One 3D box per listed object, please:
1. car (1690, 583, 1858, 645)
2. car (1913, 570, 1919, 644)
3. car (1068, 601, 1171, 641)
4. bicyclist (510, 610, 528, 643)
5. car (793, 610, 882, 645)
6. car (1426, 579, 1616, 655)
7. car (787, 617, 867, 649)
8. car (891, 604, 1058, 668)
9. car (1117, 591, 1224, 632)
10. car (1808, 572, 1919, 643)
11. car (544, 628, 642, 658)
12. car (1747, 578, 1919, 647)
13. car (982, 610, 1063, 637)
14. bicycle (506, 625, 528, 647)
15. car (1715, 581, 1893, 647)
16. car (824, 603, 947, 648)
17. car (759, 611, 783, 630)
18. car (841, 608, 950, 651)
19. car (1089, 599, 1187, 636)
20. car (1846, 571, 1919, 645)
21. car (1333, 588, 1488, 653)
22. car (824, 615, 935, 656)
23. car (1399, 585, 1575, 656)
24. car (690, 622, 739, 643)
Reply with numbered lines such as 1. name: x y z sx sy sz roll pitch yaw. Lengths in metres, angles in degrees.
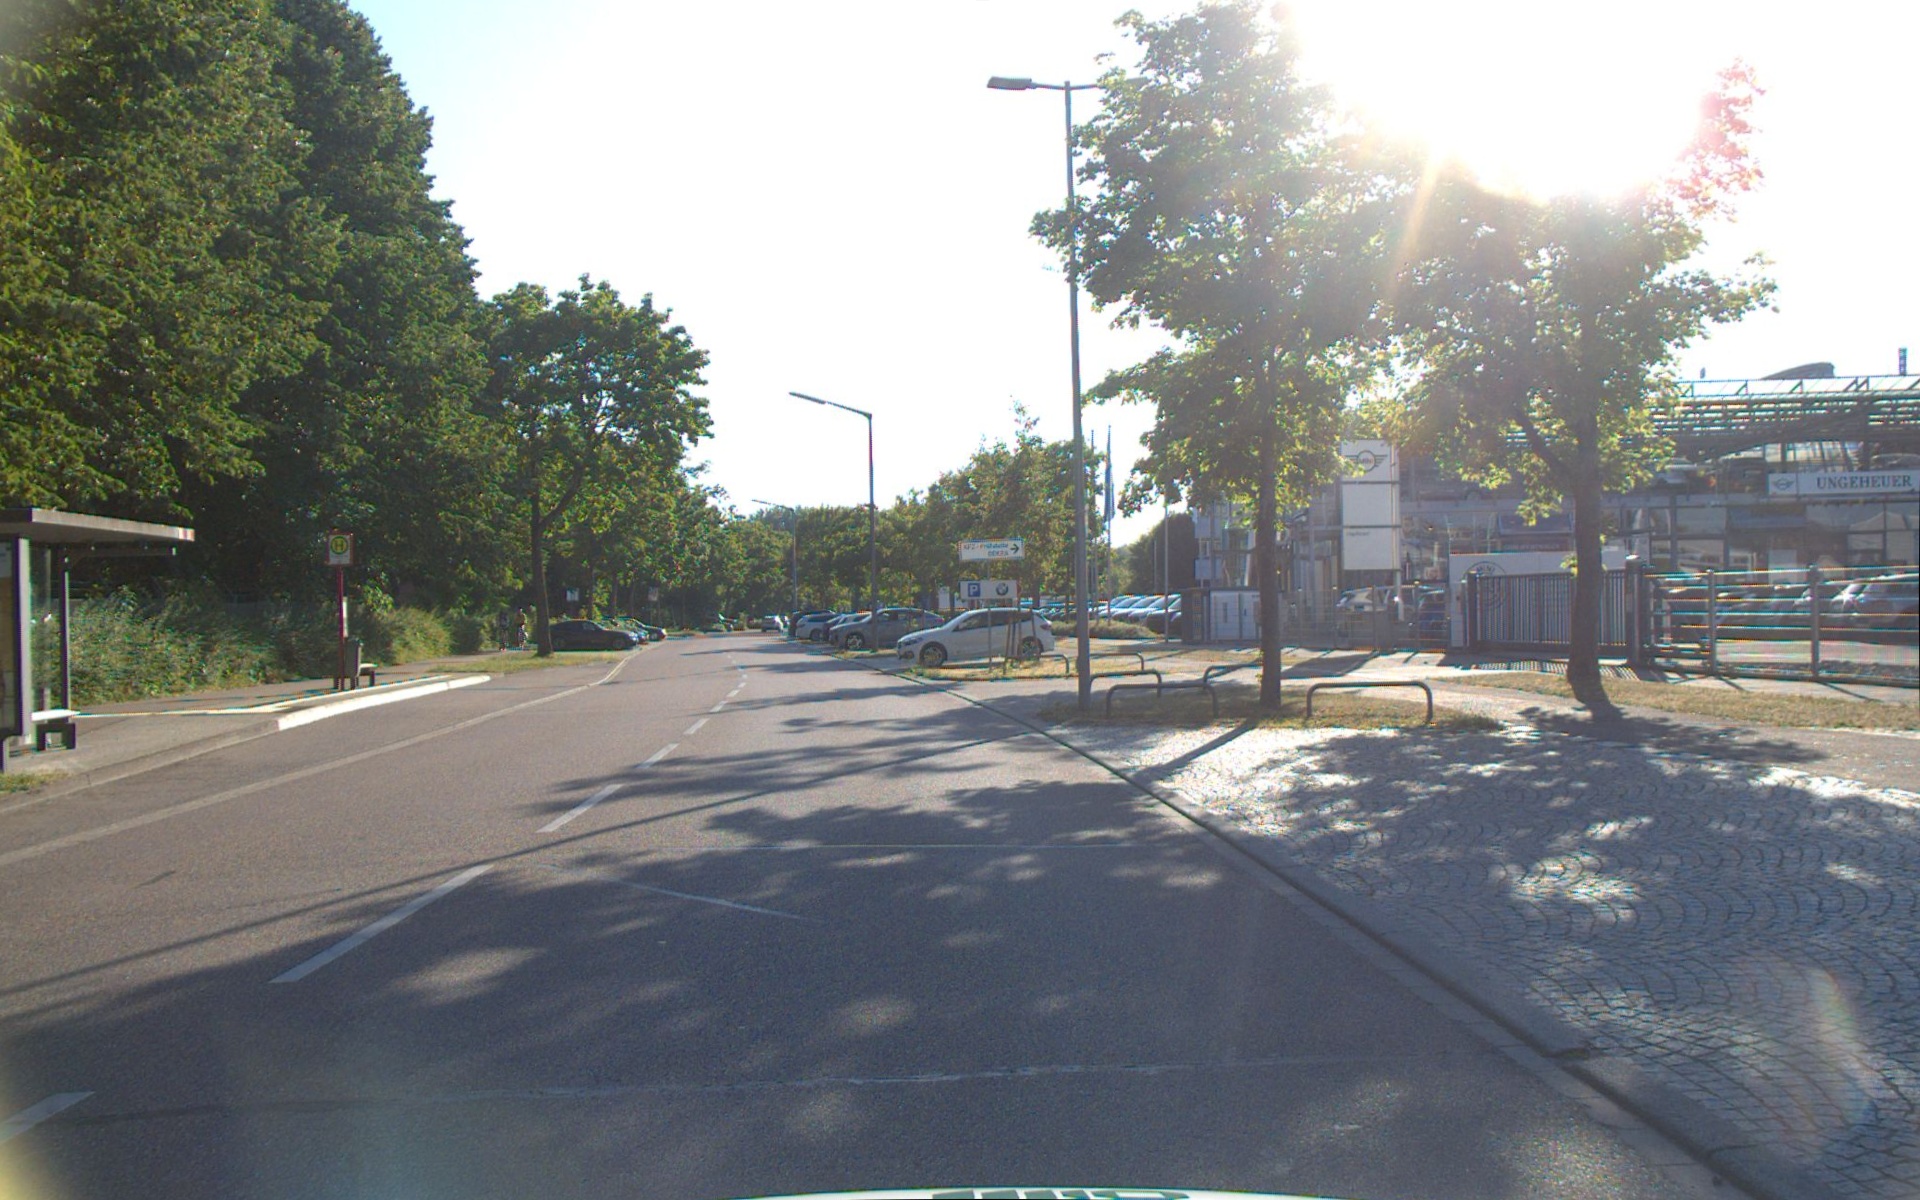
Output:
1. car: 23.536 0.426 47.966 3.902 1.606 2.001 -2 -3 10
2. car: 21.973 0.078 33.739 3.902 1.557 1.926 -2 -1 8
3. car: 7.975 1.020 82.576 4.676 1.720 2.381 -3 -1 -36
4. bicyclist: -21.585 1.293 80.987 0.717 1.557 0.949 -2 -1 -8
5. car: -6.660 1.475 89.820 4.609 1.504 1.997 -3 5 -9
6. car: 13.066 0.397 38.748 3.902 1.606 2.002 -2 -1 10
7. car: -7.797 1.936 97.406 4.602 1.782 2.189 -1 -1 -4
8. car: 0.361 0.957 44.581 4.123 1.469 2.083 -3 -1 -11
9. car: 9.379 0.518 73.569 4.554 1.601 1.975 -2 -1 -36
10. car: 22.165 0.144 38.433 3.902 1.557 1.926 -2 -1 8
11. car: -17.722 2.082 80.106 4.565 1.447 1.911 1 -1 -11
12. car: 23.079 0.351 43.416 3.902 1.606 2.001 -2 -3 10
13. car: 3.925 1.495 104.361 4.689 1.489 1.995 -2 -1 33
14. bicycle: -21.745 1.768 81.225 0.751 1.057 2.213 -2 -1 -8
15. car: 23.266 0.418 45.751 3.902 1.606 2.001 -2 -3 10
16. car: -2.915 0.986 64.388 4.509 1.612 1.994 -2 -1 -12
17. car: -17.792 1.933 155.953 1.953 1.747 3.998 -1 -1 -2
18. car: -2.695 1.208 68.517 4.296 1.505 1.996 -3 -1 -9
19. car: 8.575 0.847 79.523 4.553 1.601 1.975 -1 -1 -36
20. car: 21.822 0.129 36.116 3.902 1.557 1.926 -2 -1 8
21. car: 12.356 0.564 45.578 3.902 1.606 2.002 -2 -1 10
22. car: -3.490 1.534 71.346 4.540 1.481 1.996 -3 -1 -9
23. car: 13.051 0.518 41.178 3.902 1.606 2.002 -2 -1 10
24. car: -25.999 3.449 175.253 4.903 2.055 2.174 -1 -1 -1
